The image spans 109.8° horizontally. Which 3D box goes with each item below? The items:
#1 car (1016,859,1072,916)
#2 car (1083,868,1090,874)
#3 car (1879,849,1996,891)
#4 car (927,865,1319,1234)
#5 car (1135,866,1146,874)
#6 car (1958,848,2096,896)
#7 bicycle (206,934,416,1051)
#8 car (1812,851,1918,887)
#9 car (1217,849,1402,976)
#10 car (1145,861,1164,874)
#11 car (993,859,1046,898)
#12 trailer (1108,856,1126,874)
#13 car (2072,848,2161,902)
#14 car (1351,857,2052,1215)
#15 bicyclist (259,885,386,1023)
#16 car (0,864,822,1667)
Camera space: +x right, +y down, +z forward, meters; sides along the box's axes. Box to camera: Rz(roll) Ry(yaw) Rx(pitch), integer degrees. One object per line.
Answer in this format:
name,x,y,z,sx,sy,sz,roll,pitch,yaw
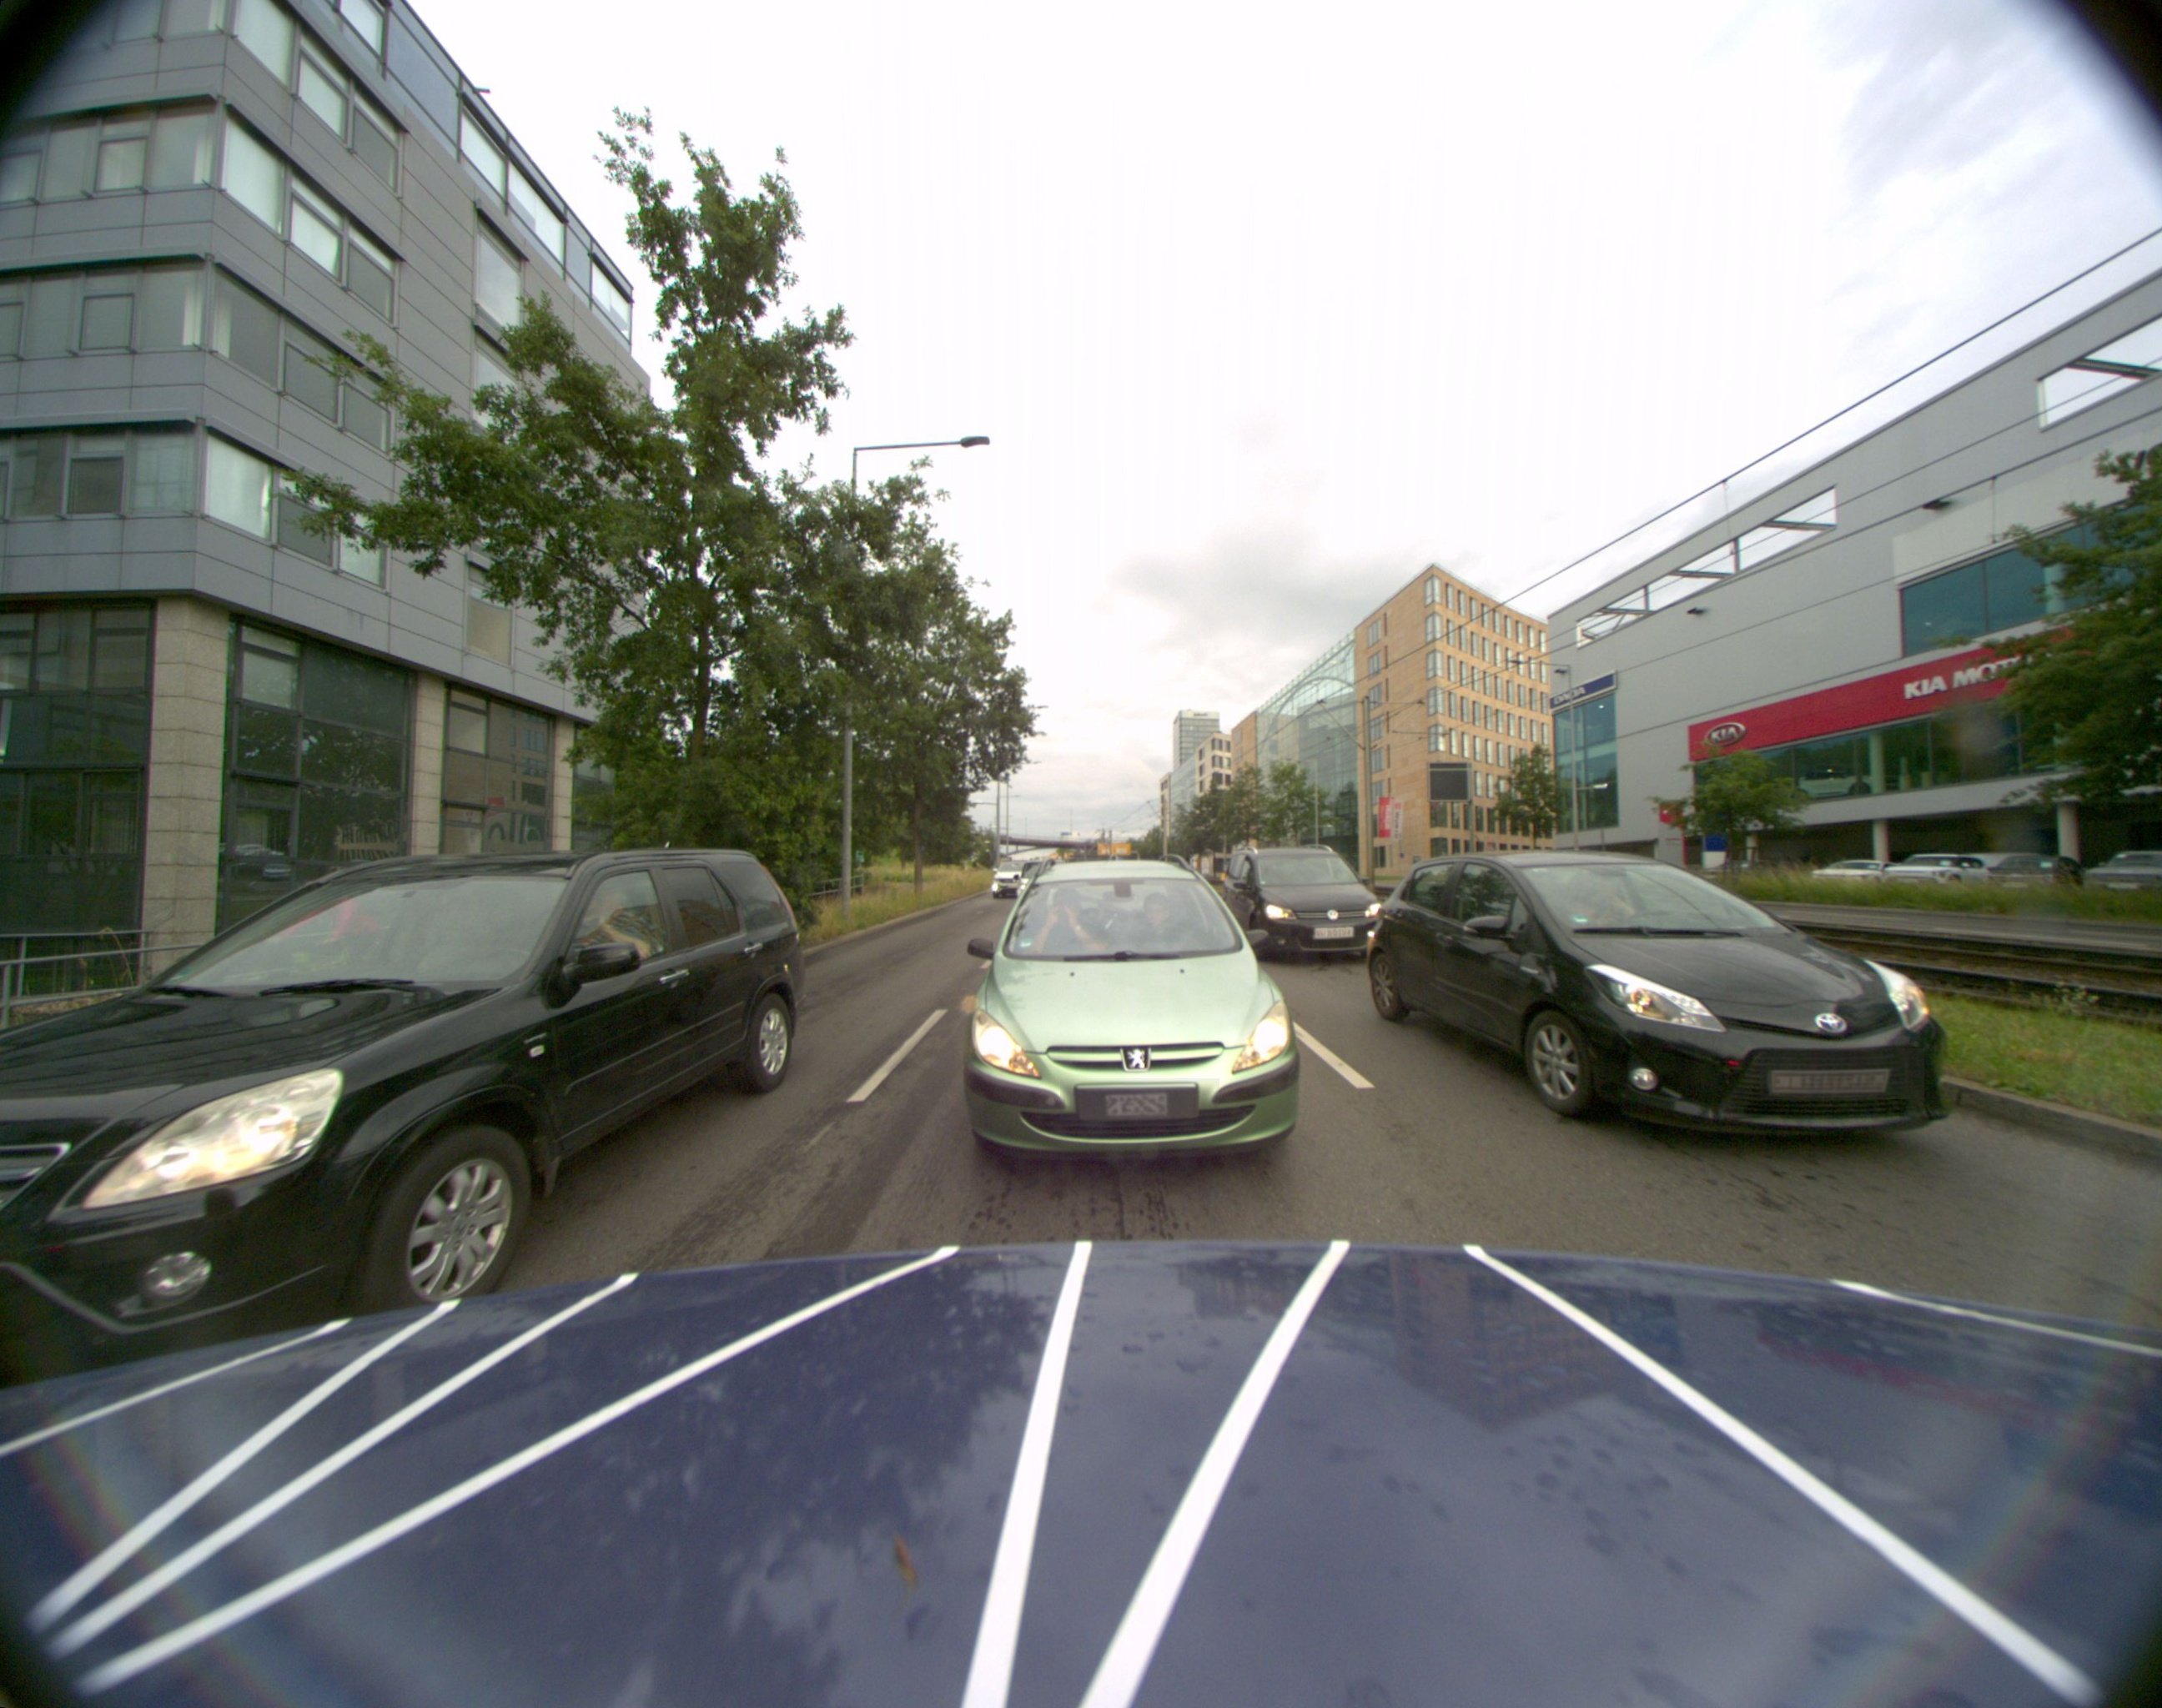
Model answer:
car,-1.129,0.939,22.479,1.518,1.495,3.167,-1,0,-4
car,1.693,5.075,223.043,1.655,1.428,3.876,-2,2,-6
car,31.758,0.565,28.171,3.668,1.287,1.696,-4,1,-22
car,0.171,0.896,5.552,1.704,1.523,4.370,-1,0,-1
car,11.597,3.164,148.222,1.589,1.504,4.100,1,0,-5
car,31.597,0.572,25.390,3.528,1.344,1.696,-4,1,-17
bicycle,-9.374,1.638,9.379,0.582,1.082,1.906,-2,0,1
car,31.735,0.580,30.776,3.668,1.181,1.696,-4,1,-22
car,3.306,0.747,11.874,1.786,1.597,4.318,-1,0,3
car,10.632,1.960,110.365,1.999,1.709,4.839,1,0,-4
car,-2.522,0.978,31.945,1.827,1.495,3.766,-1,0,1
trailer,8.844,2.633,190.031,3.143,4.304,13.277,2,0,-3
car,32.016,0.592,22.868,3.528,1.344,1.696,-4,1,-20
car,3.426,0.810,5.267,1.704,1.523,3.826,-1,0,-1
bicyclist,-9.356,1.202,9.408,0.647,1.569,0.855,-2,0,1
car,-2.957,0.924,3.791,1.759,1.649,4.338,-1,0,1
